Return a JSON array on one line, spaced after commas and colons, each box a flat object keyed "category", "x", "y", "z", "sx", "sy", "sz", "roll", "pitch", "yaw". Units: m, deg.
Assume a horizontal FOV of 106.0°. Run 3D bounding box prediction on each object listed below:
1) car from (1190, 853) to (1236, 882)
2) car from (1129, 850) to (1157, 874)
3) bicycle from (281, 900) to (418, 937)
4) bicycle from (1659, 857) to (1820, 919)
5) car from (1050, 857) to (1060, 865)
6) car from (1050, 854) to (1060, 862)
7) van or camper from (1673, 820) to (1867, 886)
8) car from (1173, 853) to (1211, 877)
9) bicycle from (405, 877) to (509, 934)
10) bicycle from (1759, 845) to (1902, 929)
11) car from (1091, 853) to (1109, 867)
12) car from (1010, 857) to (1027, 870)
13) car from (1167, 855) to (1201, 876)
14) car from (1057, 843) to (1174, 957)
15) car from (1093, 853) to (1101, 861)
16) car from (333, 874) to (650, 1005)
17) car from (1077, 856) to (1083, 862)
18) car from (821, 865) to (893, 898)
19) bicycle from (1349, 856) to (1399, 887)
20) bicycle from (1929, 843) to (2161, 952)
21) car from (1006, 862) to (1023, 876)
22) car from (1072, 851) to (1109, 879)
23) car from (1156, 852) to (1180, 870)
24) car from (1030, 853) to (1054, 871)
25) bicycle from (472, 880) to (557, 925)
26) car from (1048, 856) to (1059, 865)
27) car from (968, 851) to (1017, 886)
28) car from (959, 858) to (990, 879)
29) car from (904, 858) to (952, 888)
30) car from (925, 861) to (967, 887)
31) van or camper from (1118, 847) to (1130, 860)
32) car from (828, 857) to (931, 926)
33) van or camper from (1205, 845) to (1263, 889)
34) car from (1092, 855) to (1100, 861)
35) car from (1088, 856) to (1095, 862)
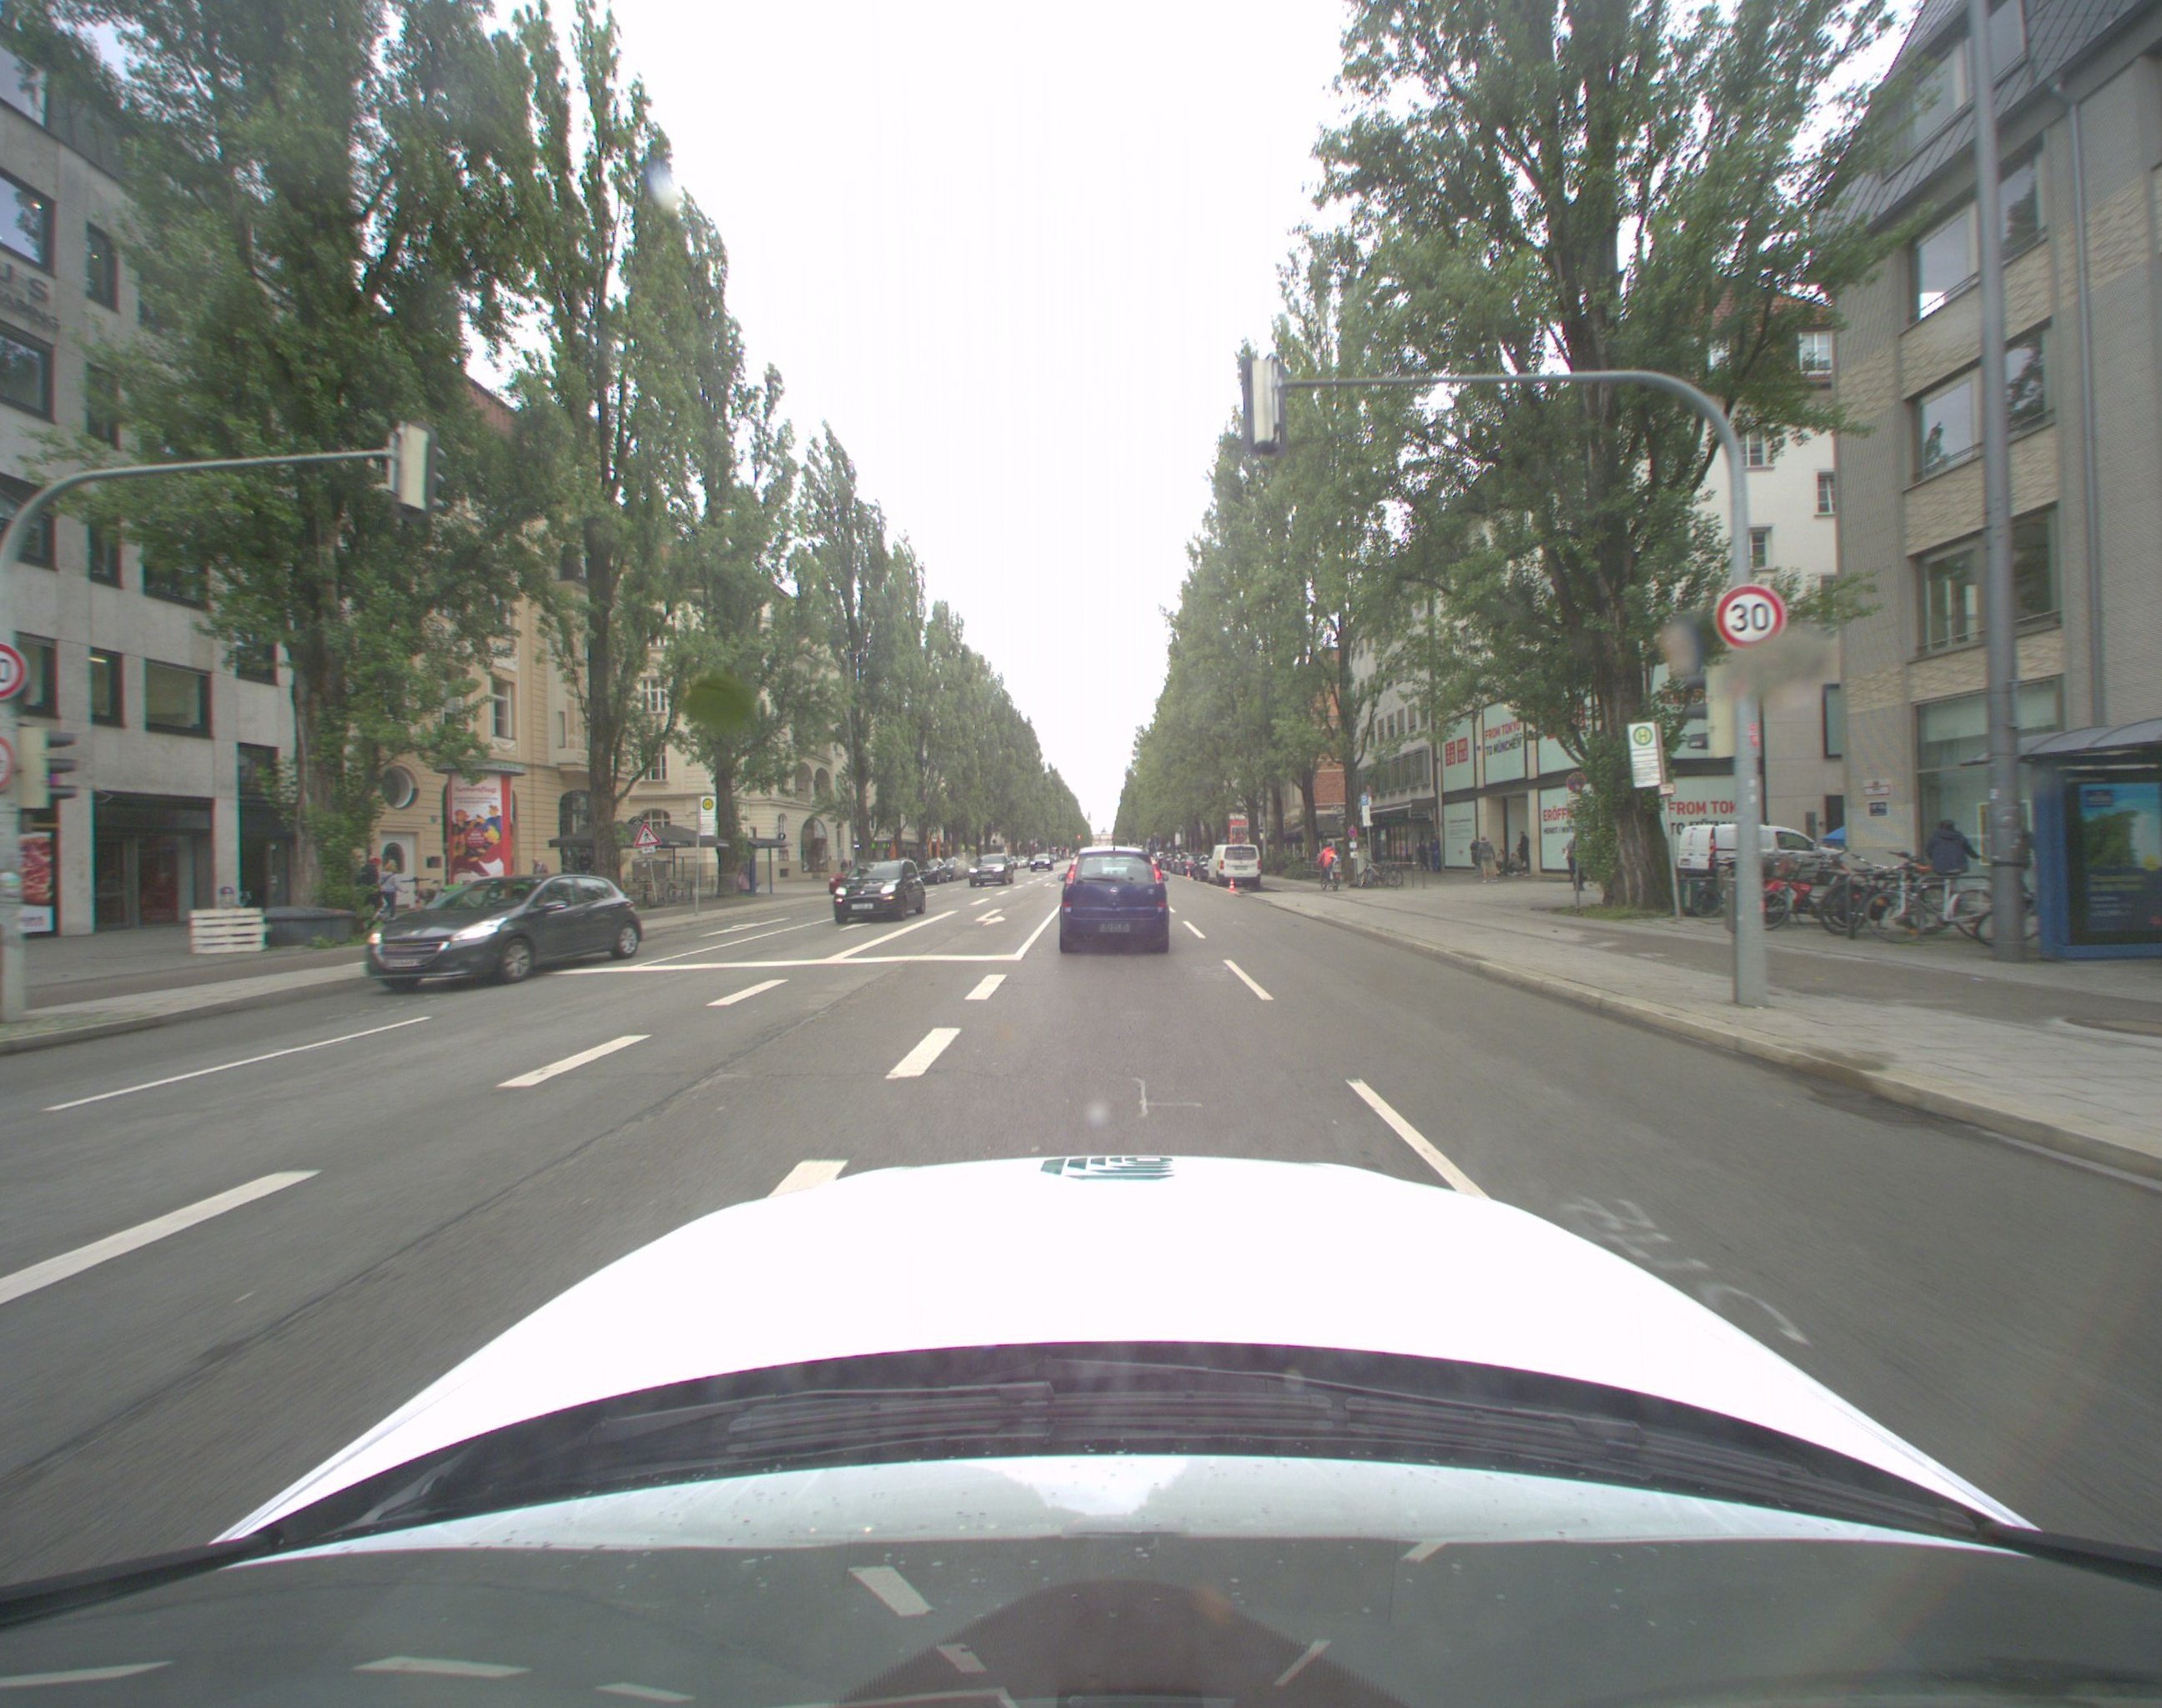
[{"category": "car", "x": 6.948, "y": 0.689, "z": 43.324, "sx": 1.714, "sy": 1.442, "sz": 4.353, "roll": 1, "pitch": 0, "yaw": 0}, {"category": "car", "x": 4.377, "y": 0.554, "z": 58.162, "sx": 1.701, "sy": 1.574, "sz": 3.999, "roll": -1, "pitch": 0, "yaw": 0}, {"category": "bicycle", "x": -15.651, "y": 1.382, "z": 17.498, "sx": 1.952, "sy": 0.512, "sz": 0.825, "roll": 0, "pitch": -22, "yaw": -17}, {"category": "bicycle", "x": 11.700, "y": 0.584, "z": 14.518, "sx": 2.140, "sy": 1.017, "sz": 0.874, "roll": -1, "pitch": 0, "yaw": 1}, {"category": "car", "x": -5.397, "y": 1.370, "z": 170.093, "sx": 1.955, "sy": 1.549, "sz": 3.779, "roll": -2, "pitch": 0, "yaw": 1}, {"category": "car", "x": -5.586, "y": 0.796, "z": 176.640, "sx": 1.987, "sy": 1.662, "sz": 4.000, "roll": -2, "pitch": 0, "yaw": 1}, {"category": "van or camper", "x": 20.430, "y": -0.013, "z": 24.315, "sx": 4.084, "sy": 1.867, "sz": 1.901, "roll": 0, "pitch": -1, "yaw": 5}, {"category": "car", "x": 7.291, "y": 0.701, "z": 53.999, "sx": 1.812, "sy": 1.506, "sz": 4.229, "roll": -2, "pitch": 0, "yaw": -2}, {"category": "bicycle", "x": -15.122, "y": 1.225, "z": 19.772, "sx": 1.965, "sy": 1.289, "sz": 0.502, "roll": 0, "pitch": -1, "yaw": -41}, {"category": "bicycle", "x": 11.538, "y": 0.500, "z": 12.561, "sx": 1.717, "sy": 1.239, "sz": 0.450, "roll": -2, "pitch": 0, "yaw": 2}, {"category": "car", "x": 2.195, "y": 0.667, "z": 92.822, "sx": 1.987, "sy": 1.497, "sz": 4.000, "roll": -1, "pitch": 0, "yaw": 1}, {"category": "car", "x": -7.972, "y": 1.195, "z": 104.758, "sx": 1.829, "sy": 1.546, "sz": 4.085, "roll": -2, "pitch": 0, "yaw": 0}, {"category": "car", "x": 7.380, "y": 0.817, "z": 58.824, "sx": 1.872, "sy": 1.432, "sz": 4.804, "roll": -2, "pitch": 0, "yaw": 0}, {"category": "car", "x": 0.524, "y": 0.666, "z": 13.802, "sx": 1.675, "sy": 1.641, "sz": 4.000, "roll": -1, "pitch": 0, "yaw": 1}, {"category": "car", "x": 3.955, "y": 0.700, "z": 202.540, "sx": 1.828, "sy": 1.761, "sz": 3.779, "roll": -2, "pitch": 0, "yaw": 1}, {"category": "car", "x": -8.251, "y": 1.090, "z": 11.937, "sx": 1.636, "sy": 1.439, "sz": 3.998, "roll": -3, "pitch": 0, "yaw": 1}, {"category": "car", "x": -0.351, "y": 1.635, "z": 251.067, "sx": 1.828, "sy": 1.739, "sz": 3.779, "roll": -2, "pitch": 0, "yaw": 1}, {"category": "car", "x": -10.171, "y": 1.212, "z": 37.313, "sx": 1.870, "sy": 1.298, "sz": 4.100, "roll": -2, "pitch": 0, "yaw": 4}, {"category": "bicycle", "x": 10.987, "y": 0.637, "z": 30.534, "sx": 1.737, "sy": 1.110, "sz": 0.447, "roll": -1, "pitch": 0, "yaw": -9}, {"category": "bicycle", "x": 11.926, "y": 0.517, "z": 9.886, "sx": 2.218, "sy": 1.252, "sz": 0.480, "roll": -1, "pitch": 0, "yaw": 25}, {"category": "car", "x": -8.233, "y": 1.847, "z": 100.790, "sx": 1.566, "sy": 1.534, "sz": 2.925, "roll": -2, "pitch": 0, "yaw": 4}, {"category": "car", "x": 0.539, "y": 0.586, "z": 46.902, "sx": 1.987, "sy": 1.497, "sz": 4.000, "roll": -2, "pitch": 0, "yaw": 1}, {"category": "car", "x": 7.380, "y": 0.566, "z": 69.625, "sx": 1.743, "sy": 1.405, "sz": 4.467, "roll": -1, "pitch": 0, "yaw": 2}, {"category": "car", "x": -3.632, "y": 0.747, "z": 76.942, "sx": 1.928, "sy": 1.623, "sz": 4.337, "roll": -1, "pitch": 0, "yaw": 1}, {"category": "bicycle", "x": -14.885, "y": 1.245, "z": 21.451, "sx": 0.502, "sy": 1.088, "sz": 1.820, "roll": 0, "pitch": -1, "yaw": 25}, {"category": "car", "x": -5.467, "y": 1.283, "z": 160.573, "sx": 1.955, "sy": 1.530, "sz": 4.000, "roll": -2, "pitch": 0, "yaw": 0}, {"category": "car", "x": -4.551, "y": 0.733, "z": 42.640, "sx": 1.906, "sy": 1.681, "sz": 4.587, "roll": -1, "pitch": 0, "yaw": 1}, {"category": "car", "x": -8.597, "y": 1.149, "z": 66.037, "sx": 1.775, "sy": 1.575, "sz": 4.134, "roll": -3, "pitch": 0, "yaw": 1}, {"category": "car", "x": -9.377, "y": 1.134, "z": 50.351, "sx": 1.813, "sy": 1.618, "sz": 4.719, "roll": -2, "pitch": 1, "yaw": 2}, {"category": "car", "x": -9.114, "y": 1.303, "z": 55.249, "sx": 1.795, "sy": 1.594, "sz": 4.634, "roll": -2, "pitch": 0, "yaw": 3}, {"category": "van or camper", "x": 9.181, "y": -0.048, "z": 174.211, "sx": 2.467, "sy": 2.581, "sz": 5.847, "roll": -2, "pitch": 0, "yaw": 2}, {"category": "car", "x": -4.921, "y": 0.865, "z": 20.370, "sx": 1.556, "sy": 1.496, "sz": 3.695, "roll": -3, "pitch": 0, "yaw": 1}, {"category": "van or camper", "x": 6.979, "y": 0.557, "z": 37.653, "sx": 1.862, "sy": 1.883, "sz": 4.904, "roll": -1, "pitch": 0, "yaw": 1}, {"category": "car", "x": 3.624, "y": 0.863, "z": 196.935, "sx": 1.955, "sy": 1.399, "sz": 3.779, "roll": -2, "pitch": 0, "yaw": 1}, {"category": "car", "x": 3.192, "y": 1.547, "z": 248.873, "sx": 1.828, "sy": 1.677, "sz": 3.779, "roll": -2, "pitch": 0, "yaw": 1}]
